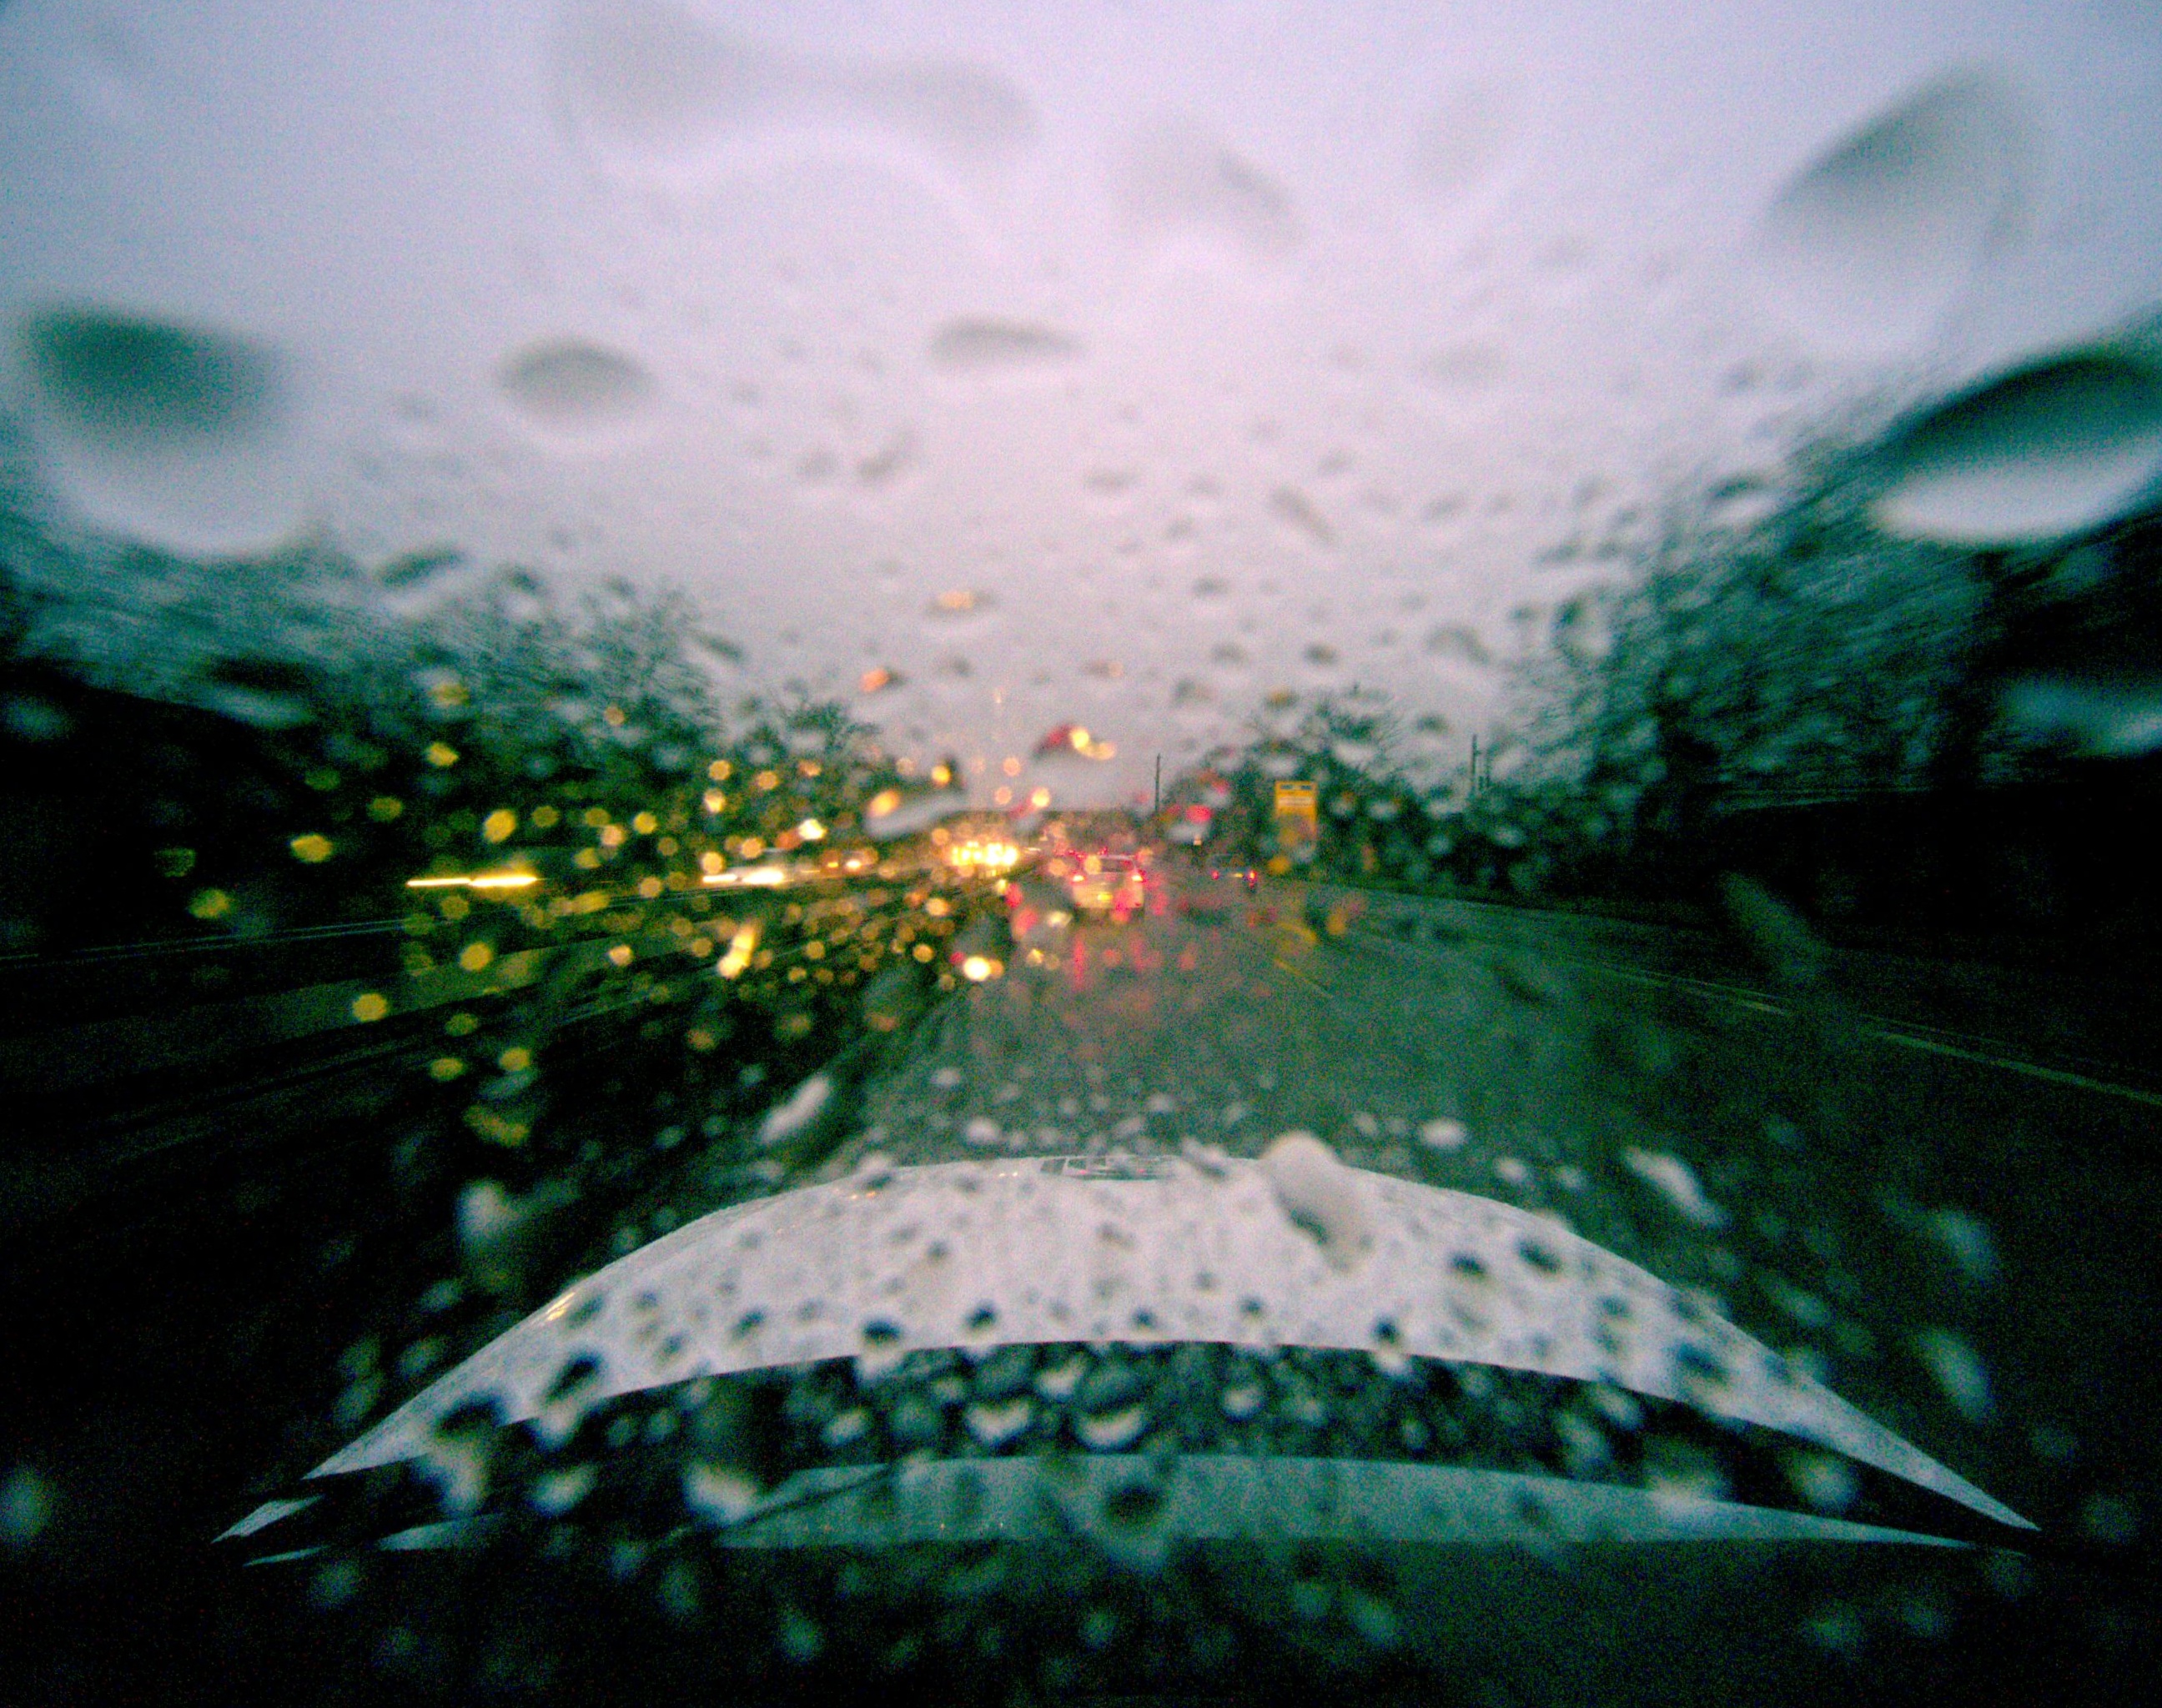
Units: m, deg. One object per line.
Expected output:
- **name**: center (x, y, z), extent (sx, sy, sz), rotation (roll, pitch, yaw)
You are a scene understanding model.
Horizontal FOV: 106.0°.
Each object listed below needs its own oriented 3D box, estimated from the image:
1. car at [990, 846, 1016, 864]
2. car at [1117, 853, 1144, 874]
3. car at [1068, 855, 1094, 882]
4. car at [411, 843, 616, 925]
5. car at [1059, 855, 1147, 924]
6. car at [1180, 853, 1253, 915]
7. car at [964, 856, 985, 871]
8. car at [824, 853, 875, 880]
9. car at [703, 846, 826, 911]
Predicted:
- **car**: center (-6.716, 0.095, 70.292), extent (1.748, 1.441, 4.000), rotation (1, 0, 1)
- **car**: center (4.212, 0.830, 69.467), extent (1.927, 1.546, 3.771), rotation (-5, -2, -1)
- **car**: center (0.004, 1.140, 65.418), extent (1.987, 2.014, 3.999), rotation (1, 0, -1)
- **car**: center (-14.167, 0.687, 20.772), extent (1.875, 1.832, 4.784), rotation (1, 0, -1)
- **car**: center (0.670, 0.833, 20.887), extent (2.015, 1.575, 4.005), rotation (1, 0, 5)
- **car**: center (4.644, 0.994, 28.447), extent (1.926, 2.019, 3.772), rotation (1, 0, 0)
- **car**: center (-12.024, 1.053, 92.248), extent (1.687, 1.666, 4.432), rotation (1, 0, 0)
- **car**: center (-14.267, 0.751, 50.375), extent (1.856, 1.539, 4.114), rotation (1, 0, 1)
- **car**: center (-9.879, 0.722, 25.858), extent (1.876, 1.832, 4.788), rotation (1, 0, 2)
